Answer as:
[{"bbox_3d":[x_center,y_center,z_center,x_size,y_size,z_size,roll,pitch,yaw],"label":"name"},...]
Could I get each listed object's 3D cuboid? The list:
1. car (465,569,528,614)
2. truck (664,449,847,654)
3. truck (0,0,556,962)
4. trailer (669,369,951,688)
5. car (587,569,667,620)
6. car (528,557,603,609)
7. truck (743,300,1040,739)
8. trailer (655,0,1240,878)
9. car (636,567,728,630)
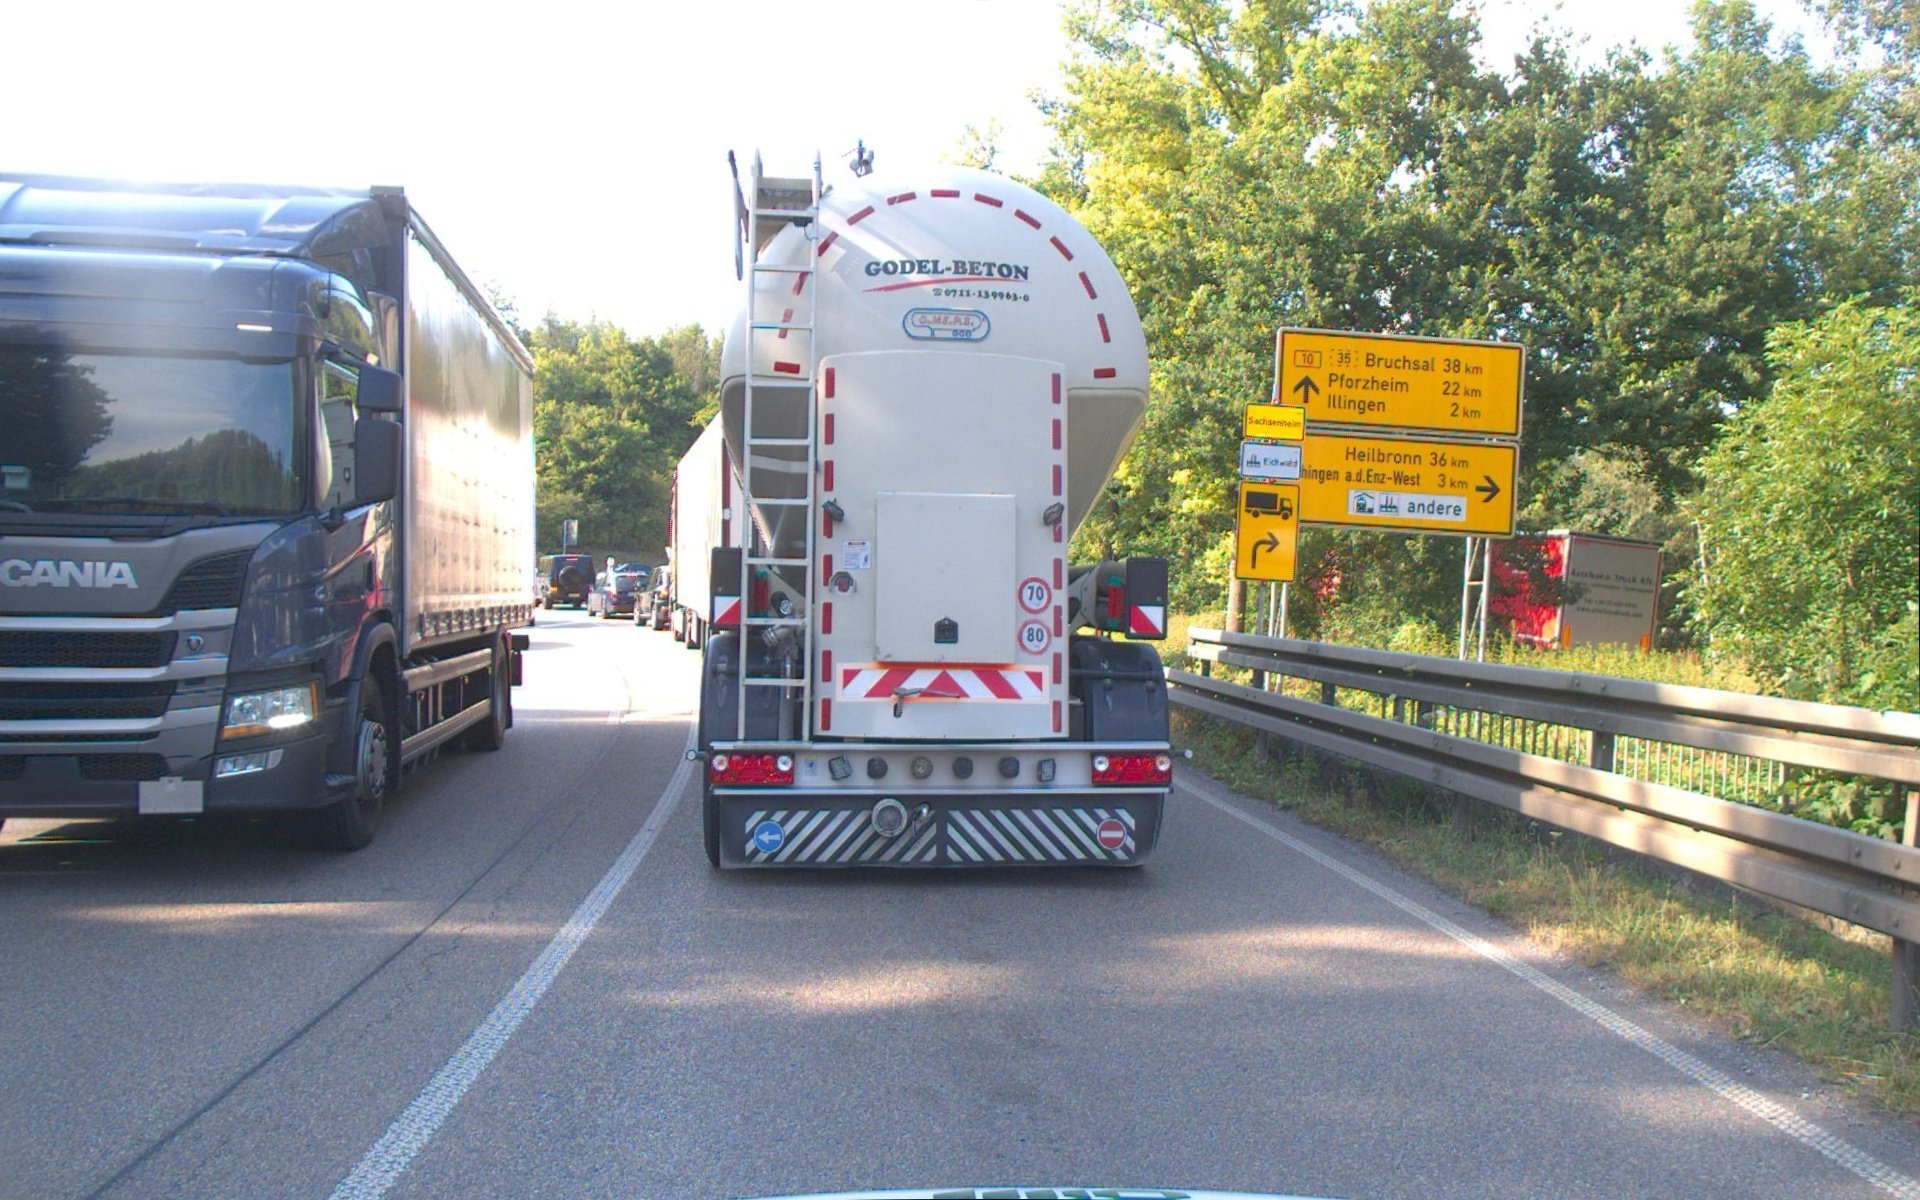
[{"bbox_3d":[-21.026,-0.418,74.986,1.847,1.884,3.962,3,0,-29],"label":"car"},{"bbox_3d":[-4.806,-1.070,37.637,3.391,4.157,6.470,2,1,-13],"label":"truck"},{"bbox_3d":[-5.078,-0.728,12.489,2.956,4.665,10.220,1,0,-9],"label":"truck"},{"bbox_3d":[-3.307,-1.065,30.879,3.484,4.592,12.942,2,0,-13],"label":"trailer"},{"bbox_3d":[-10.812,-0.202,53.508,1.842,1.592,3.973,0,1,-22],"label":"car"},{"bbox_3d":[-14.867,-0.680,62.212,1.933,1.883,3.966,-1,2,-26],"label":"car"},{"bbox_3d":[-1.001,-0.761,18.625,2.771,4.105,5.885,1,0,-7],"label":"truck"},{"bbox_3d":[-0.431,-0.913,12.972,2.830,4.532,9.596,1,0,-5],"label":"trailer"},{"bbox_3d":[-7.741,-0.096,45.766,1.840,1.656,3.977,0,1,-20],"label":"car"}]
